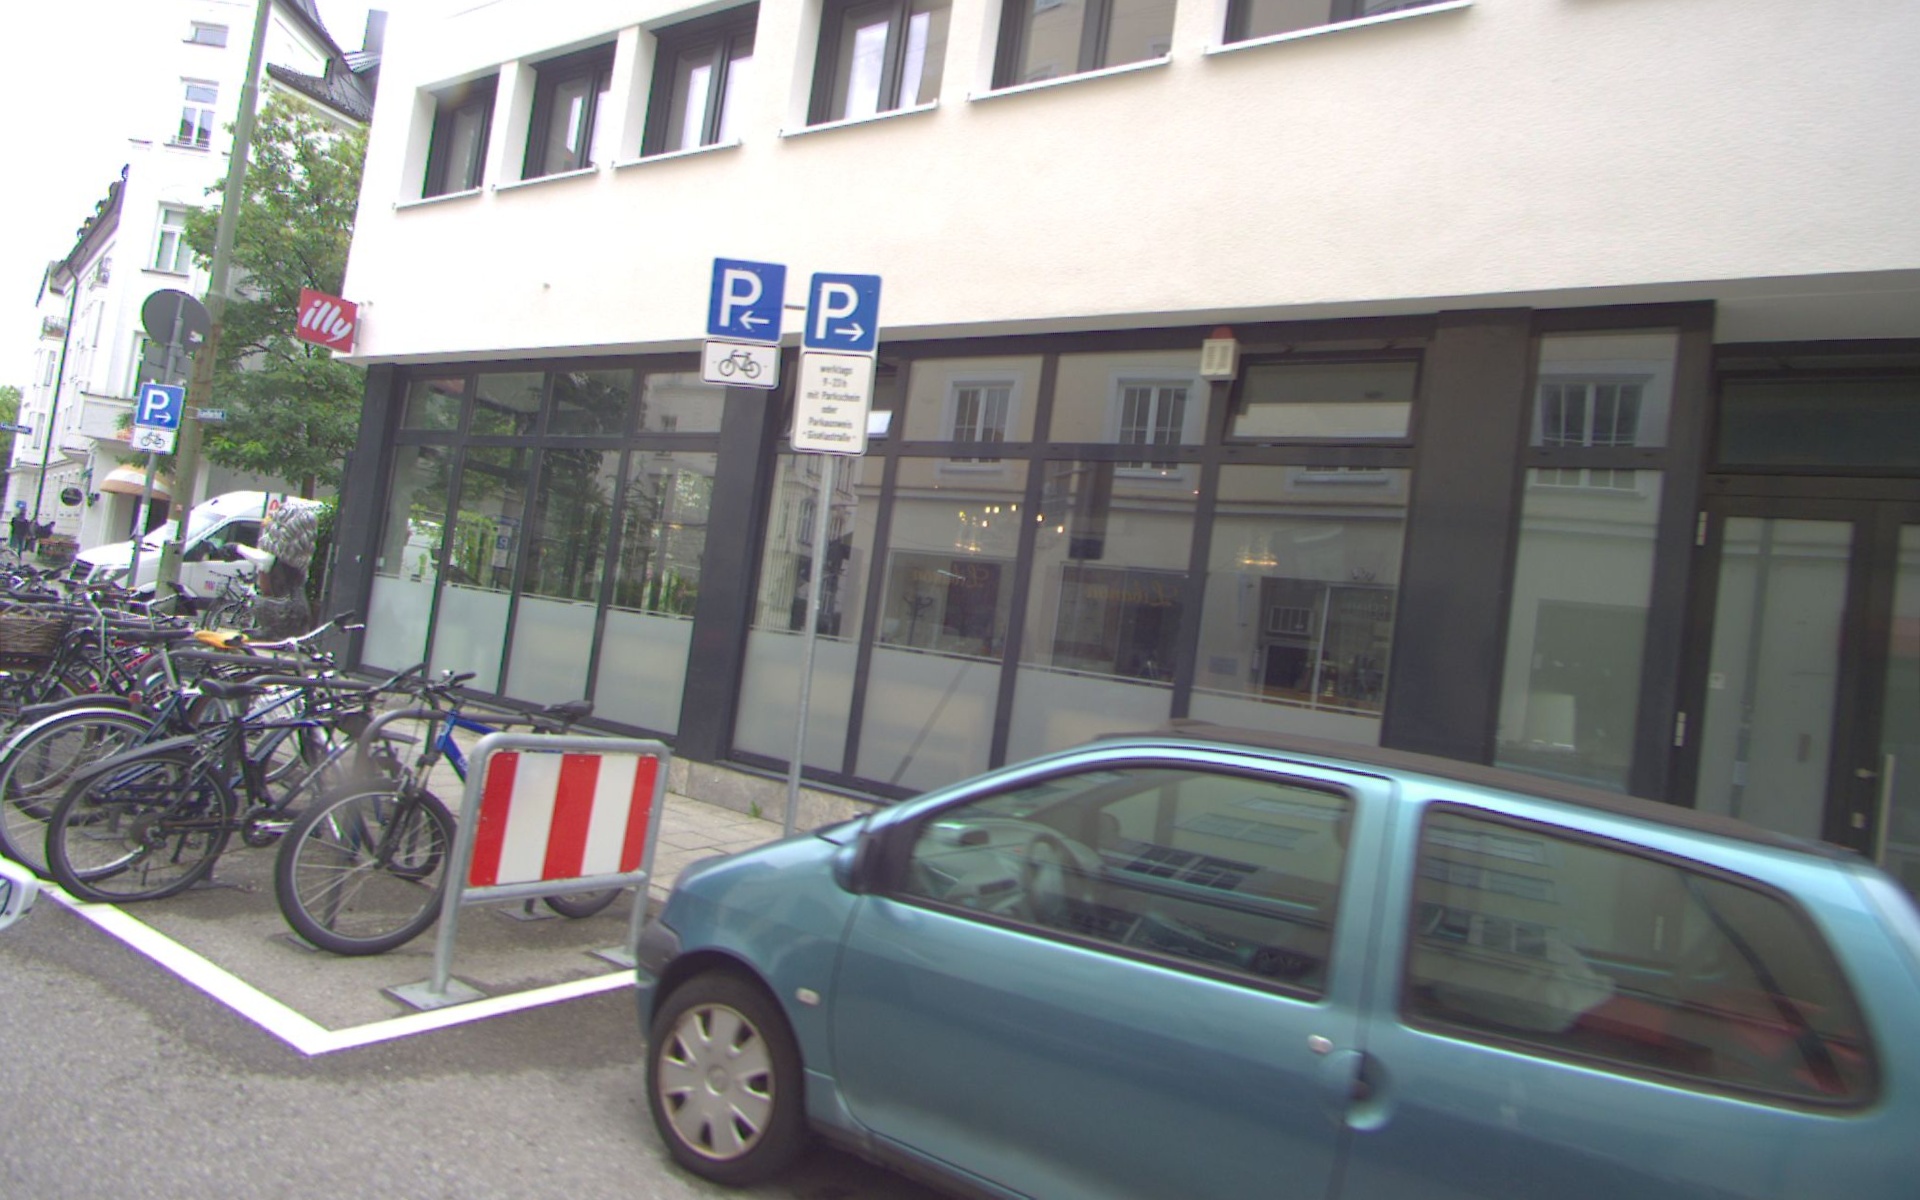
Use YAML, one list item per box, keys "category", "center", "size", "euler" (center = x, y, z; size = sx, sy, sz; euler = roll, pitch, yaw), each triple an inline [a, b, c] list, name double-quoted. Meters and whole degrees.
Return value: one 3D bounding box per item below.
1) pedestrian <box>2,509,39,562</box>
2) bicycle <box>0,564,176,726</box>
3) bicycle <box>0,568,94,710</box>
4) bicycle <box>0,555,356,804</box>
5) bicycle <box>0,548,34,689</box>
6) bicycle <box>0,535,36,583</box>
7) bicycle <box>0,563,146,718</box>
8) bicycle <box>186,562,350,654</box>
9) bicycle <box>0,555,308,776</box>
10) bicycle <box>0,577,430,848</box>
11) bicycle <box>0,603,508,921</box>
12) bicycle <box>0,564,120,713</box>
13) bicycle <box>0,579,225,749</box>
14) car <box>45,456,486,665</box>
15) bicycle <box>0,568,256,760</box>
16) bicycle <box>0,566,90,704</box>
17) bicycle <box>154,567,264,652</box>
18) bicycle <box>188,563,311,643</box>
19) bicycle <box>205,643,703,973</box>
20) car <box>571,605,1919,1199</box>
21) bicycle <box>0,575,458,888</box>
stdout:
- category: "pedestrian"
  center: [-35.668, -2.440, 38.186]
  size: [0.777, 1.871, 1.010]
  euler: [10, -3, -45]
- category: "bicycle"
  center: [-6.806, 0.303, 7.107]
  size: [0.395, 1.091, 1.880]
  euler: [8, -3, 27]
- category: "bicycle"
  center: [-7.869, 0.260, 7.756]
  size: [0.330, 1.091, 1.680]
  euler: [8, -3, 27]
- category: "bicycle"
  center: [-4.656, 0.459, 5.780]
  size: [0.570, 1.218, 1.879]
  euler: [7, -2, 29]
- category: "bicycle"
  center: [-8.839, 0.077, 8.403]
  size: [0.388, 1.220, 1.457]
  euler: [7, -3, 23]
- category: "bicycle"
  center: [-22.908, -1.022, 23.978]
  size: [1.723, 1.011, 0.540]
  euler: [7, 1, 21]
- category: "bicycle"
  center: [-7.194, 0.269, 7.298]
  size: [0.401, 1.091, 1.880]
  euler: [8, -3, 27]
- category: "bicycle"
  center: [-10.727, 0.147, 15.664]
  size: [0.583, 1.139, 1.904]
  euler: [6, -4, 35]
- category: "bicycle"
  center: [-5.178, 0.406, 6.107]
  size: [0.556, 1.183, 1.899]
  euler: [7, -3, 28]
- category: "bicycle"
  center: [-4.023, 0.635, 5.465]
  size: [0.555, 1.169, 1.881]
  euler: [8, -4, 29]
- category: "bicycle"
  center: [-3.144, 0.731, 4.639]
  size: [0.480, 1.119, 1.881]
  euler: [8, -4, 29]
- category: "bicycle"
  center: [-7.506, 0.263, 7.622]
  size: [0.371, 1.091, 1.618]
  euler: [8, -3, 27]
- category: "bicycle"
  center: [-6.210, 0.429, 6.786]
  size: [0.554, 1.063, 1.880]
  euler: [5, -4, 27]
- category: "car"
  center: [-12.007, -0.527, 17.981]
  size: [2.027, 2.619, 5.904]
  euler: [8, -3, 36]
- category: "bicycle"
  center: [-5.660, 0.412, 6.348]
  size: [0.432, 1.107, 1.880]
  euler: [8, -3, 27]
- category: "bicycle"
  center: [-8.188, 0.230, 8.014]
  size: [0.444, 1.091, 1.746]
  euler: [8, -3, 27]
- category: "bicycle"
  center: [-11.547, 0.160, 15.492]
  size: [0.335, 1.140, 1.179]
  euler: [6, -3, 37]
- category: "bicycle"
  center: [-11.488, 0.074, 16.315]
  size: [0.364, 1.083, 1.507]
  euler: [7, -3, 30]
- category: "bicycle"
  center: [-2.056, 0.876, 4.452]
  size: [0.480, 1.090, 1.882]
  euler: [8, -5, 29]
- category: "car"
  center: [0.831, 1.018, 2.828]
  size: [3.491, 1.480, 1.585]
  euler: [7, -3, 30]
- category: "bicycle"
  center: [-3.558, 0.632, 4.928]
  size: [0.480, 1.217, 1.880]
  euler: [8, -3, 29]
